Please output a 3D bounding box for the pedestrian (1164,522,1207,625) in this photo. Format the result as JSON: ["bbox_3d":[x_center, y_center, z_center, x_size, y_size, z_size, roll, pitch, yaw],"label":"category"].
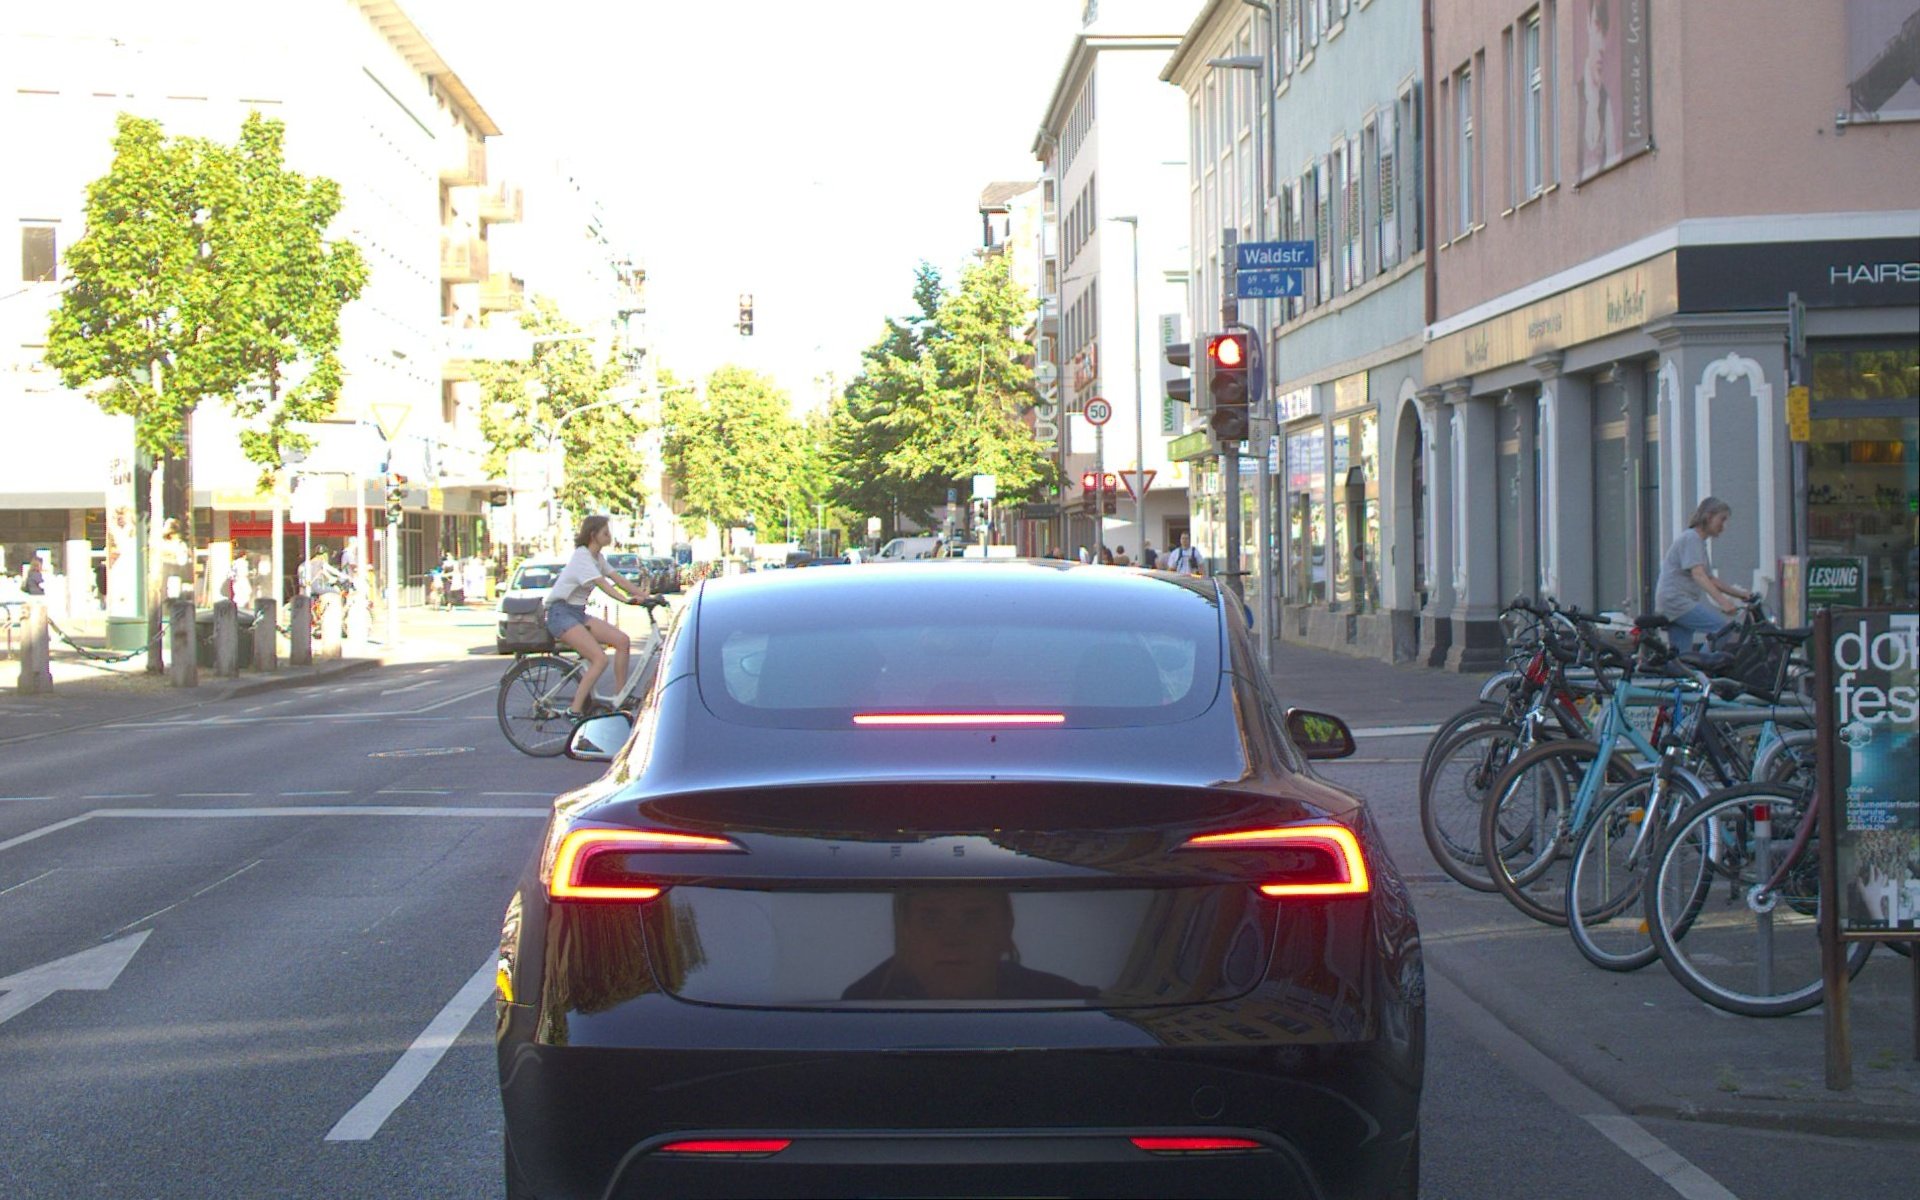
[{"bbox_3d":[3.933,-0.467,60.007,0.704,1.777,0.533,0,1,-1],"label":"pedestrian"}]

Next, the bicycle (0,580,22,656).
[{"bbox_3d":[-14.915,0.263,50.439,2.082,1.100,0.806,0,1,-1],"label":"bicycle"}]

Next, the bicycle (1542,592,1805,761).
[{"bbox_3d":[4.554,0.477,21.966,1.616,1.041,0.590,1,0,12],"label":"bicycle"}]

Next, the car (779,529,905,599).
[{"bbox_3d":[-3.046,-0.937,87.691,2.049,1.721,4.655,0,1,-17],"label":"car"}]

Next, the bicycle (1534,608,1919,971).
[{"bbox_3d":[2.823,0.628,11.696,1.627,1.156,0.433,-2,1,-1],"label":"bicycle"}]

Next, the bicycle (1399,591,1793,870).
[{"bbox_3d":[2.802,0.569,15.216,1.628,1.156,0.433,-2,1,1],"label":"bicycle"}]

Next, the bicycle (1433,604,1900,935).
[{"bbox_3d":[2.639,0.627,12.911,1.627,1.156,0.433,-2,1,-1],"label":"bicycle"}]

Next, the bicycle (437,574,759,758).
[{"bbox_3d":[-2.553,0.464,24.257,2.127,1.196,0.628,-2,0,16],"label":"bicycle"}]

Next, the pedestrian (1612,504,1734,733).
[{"bbox_3d":[4.551,0.115,21.963,0.743,1.435,0.582,1,0,11],"label":"pedestrian"}]

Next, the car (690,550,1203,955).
[{"bbox_3d":[-0.043,0.522,14.281,1.850,1.450,3.786,0,1,0],"label":"car"}]

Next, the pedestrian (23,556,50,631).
[{"bbox_3d":[-16.611,-0.123,61.840,0.420,1.335,0.394,0,1,-7],"label":"pedestrian"}]

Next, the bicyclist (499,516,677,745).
[{"bbox_3d":[-2.621,0.204,24.265,1.098,1.583,0.628,0,1,16],"label":"bicyclist"}]

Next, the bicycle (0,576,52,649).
[{"bbox_3d":[-15.053,0.192,52.632,2.082,1.100,0.806,0,1,-1],"label":"bicycle"}]

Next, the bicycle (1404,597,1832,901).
[{"bbox_3d":[2.677,0.599,14.046,1.627,1.156,0.433,-2,1,-1],"label":"bicycle"}]

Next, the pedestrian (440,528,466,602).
[{"bbox_3d":[-13.670,-0.946,92.663,0.626,2.007,0.575,0,1,-1],"label":"pedestrian"}]

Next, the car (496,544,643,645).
[{"bbox_3d":[-6.589,-0.127,58.368,1.993,1.535,4.000,-4,1,-1],"label":"car"}]

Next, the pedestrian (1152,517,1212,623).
[{"bbox_3d":[3.875,-0.532,60.069,0.999,1.844,0.615,0,1,-1],"label":"pedestrian"}]

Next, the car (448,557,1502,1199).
[{"bbox_3d":[0.032,0.633,7.934,1.850,1.450,3.786,0,1,0],"label":"car"}]
